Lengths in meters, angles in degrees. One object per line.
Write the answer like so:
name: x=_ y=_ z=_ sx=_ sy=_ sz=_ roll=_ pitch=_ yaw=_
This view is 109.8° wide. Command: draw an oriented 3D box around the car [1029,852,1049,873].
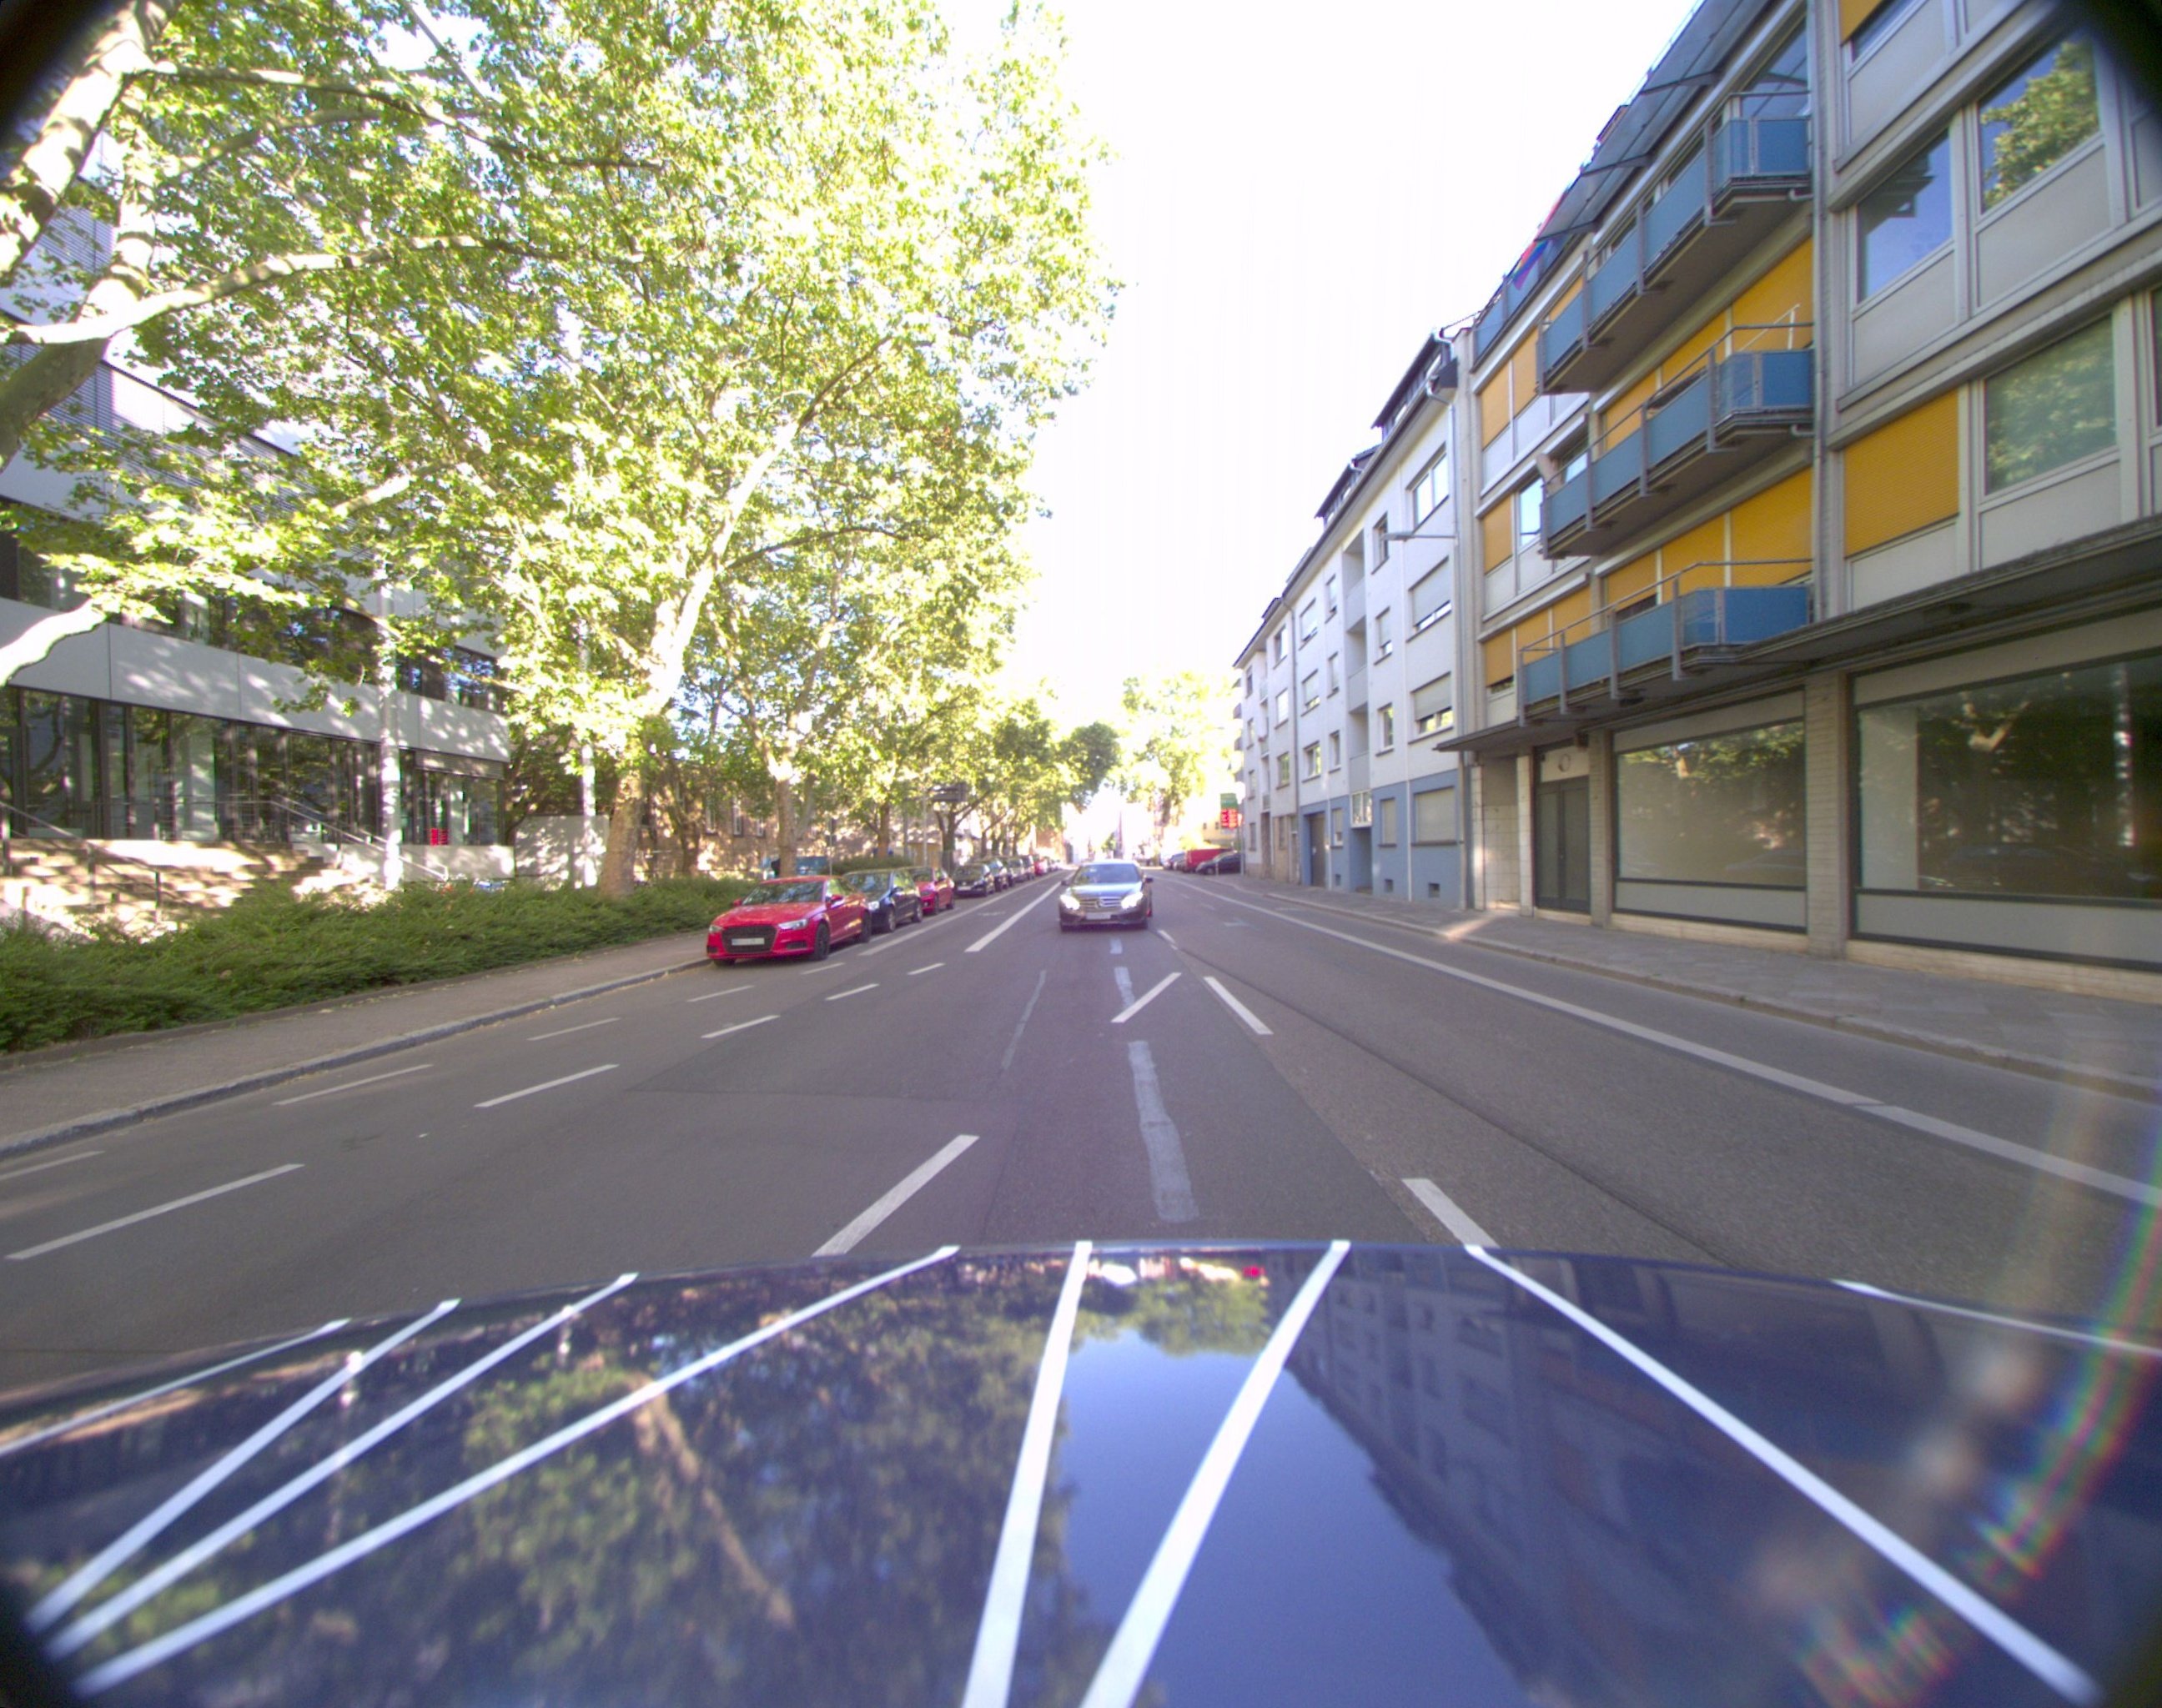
car: x=-3.900 y=0.805 z=71.006 sx=1.599 sy=1.835 sz=3.769 roll=-2 pitch=1 yaw=0

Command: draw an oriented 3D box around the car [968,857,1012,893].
car: x=-4.516 y=0.991 z=38.110 sx=1.634 sy=1.569 sz=4.231 roll=-2 pitch=1 yaw=0

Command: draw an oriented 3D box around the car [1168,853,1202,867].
car: x=10.326 y=0.577 z=75.470 sx=3.271 sy=1.238 sz=1.345 roll=-2 pitch=1 yaw=2

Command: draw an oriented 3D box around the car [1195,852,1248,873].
car: x=10.094 y=0.586 z=54.732 sx=3.508 sy=1.380 sz=1.490 roll=-2 pitch=1 yaw=2

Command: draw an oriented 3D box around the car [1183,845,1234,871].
car: x=10.063 y=0.317 z=59.945 sx=3.688 sy=1.897 sz=1.490 roll=-2 pitch=-1 yaw=-1

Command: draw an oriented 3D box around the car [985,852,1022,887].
car: x=-4.453 y=0.853 z=44.243 sx=1.634 sy=1.781 sz=4.576 roll=-2 pitch=1 yaw=0

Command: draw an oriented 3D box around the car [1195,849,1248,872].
car: x=10.537 y=0.481 z=57.101 sx=3.687 sy=1.503 sz=1.490 roll=-2 pitch=1 yaw=2

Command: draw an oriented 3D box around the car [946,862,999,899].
car: x=-4.691 y=1.111 z=33.240 sx=1.692 sy=1.414 sz=3.923 roll=-2 pitch=1 yaw=0

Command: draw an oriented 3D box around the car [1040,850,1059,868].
car: x=-3.809 y=0.587 z=91.893 sx=1.998 sy=2.002 sz=4.000 roll=-2 pitch=0 yaw=1

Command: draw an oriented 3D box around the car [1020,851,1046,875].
car: x=-4.167 y=0.721 z=66.095 sx=1.915 sy=1.940 sz=3.769 roll=-2 pitch=1 yaw=0

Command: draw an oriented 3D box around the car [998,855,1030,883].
car: x=-4.351 y=0.939 z=50.115 sx=1.634 sy=1.604 sz=4.576 roll=-2 pitch=1 yaw=0

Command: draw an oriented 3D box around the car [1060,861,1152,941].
car: x=0.528 y=0.934 z=17.001 sx=1.752 sy=1.423 sz=4.265 roll=-2 pitch=1 yaw=1

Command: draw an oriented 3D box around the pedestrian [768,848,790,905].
pedestrian: x=-10.935 y=0.799 z=27.494 sx=0.552 sy=2.002 sz=0.562 roll=-2 pitch=1 yaw=-11

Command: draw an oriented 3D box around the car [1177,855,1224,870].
car: x=9.815 y=0.689 z=62.591 sx=3.687 sy=1.122 sz=1.345 roll=-2 pitch=1 yaw=2

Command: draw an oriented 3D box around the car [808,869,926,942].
car: x=-5.048 y=1.162 z=18.414 sx=1.669 sy=1.410 sz=3.697 roll=-2 pitch=1 yaw=1

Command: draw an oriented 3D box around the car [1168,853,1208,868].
car: x=10.271 y=0.623 z=73.032 sx=3.687 sy=1.238 sz=1.345 roll=-2 pitch=1 yaw=2

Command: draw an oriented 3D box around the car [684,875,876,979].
car: x=-5.160 y=1.179 z=13.661 sx=1.794 sy=1.384 sz=3.999 roll=-2 pitch=1 yaw=0

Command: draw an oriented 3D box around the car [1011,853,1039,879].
car: x=-4.035 y=0.814 z=55.242 sx=1.634 sy=1.725 sz=3.769 roll=-2 pitch=1 yaw=0

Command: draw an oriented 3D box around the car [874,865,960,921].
car: x=-5.011 y=1.132 z=23.688 sx=1.692 sy=1.441 sz=3.923 roll=-2 pitch=1 yaw=1
